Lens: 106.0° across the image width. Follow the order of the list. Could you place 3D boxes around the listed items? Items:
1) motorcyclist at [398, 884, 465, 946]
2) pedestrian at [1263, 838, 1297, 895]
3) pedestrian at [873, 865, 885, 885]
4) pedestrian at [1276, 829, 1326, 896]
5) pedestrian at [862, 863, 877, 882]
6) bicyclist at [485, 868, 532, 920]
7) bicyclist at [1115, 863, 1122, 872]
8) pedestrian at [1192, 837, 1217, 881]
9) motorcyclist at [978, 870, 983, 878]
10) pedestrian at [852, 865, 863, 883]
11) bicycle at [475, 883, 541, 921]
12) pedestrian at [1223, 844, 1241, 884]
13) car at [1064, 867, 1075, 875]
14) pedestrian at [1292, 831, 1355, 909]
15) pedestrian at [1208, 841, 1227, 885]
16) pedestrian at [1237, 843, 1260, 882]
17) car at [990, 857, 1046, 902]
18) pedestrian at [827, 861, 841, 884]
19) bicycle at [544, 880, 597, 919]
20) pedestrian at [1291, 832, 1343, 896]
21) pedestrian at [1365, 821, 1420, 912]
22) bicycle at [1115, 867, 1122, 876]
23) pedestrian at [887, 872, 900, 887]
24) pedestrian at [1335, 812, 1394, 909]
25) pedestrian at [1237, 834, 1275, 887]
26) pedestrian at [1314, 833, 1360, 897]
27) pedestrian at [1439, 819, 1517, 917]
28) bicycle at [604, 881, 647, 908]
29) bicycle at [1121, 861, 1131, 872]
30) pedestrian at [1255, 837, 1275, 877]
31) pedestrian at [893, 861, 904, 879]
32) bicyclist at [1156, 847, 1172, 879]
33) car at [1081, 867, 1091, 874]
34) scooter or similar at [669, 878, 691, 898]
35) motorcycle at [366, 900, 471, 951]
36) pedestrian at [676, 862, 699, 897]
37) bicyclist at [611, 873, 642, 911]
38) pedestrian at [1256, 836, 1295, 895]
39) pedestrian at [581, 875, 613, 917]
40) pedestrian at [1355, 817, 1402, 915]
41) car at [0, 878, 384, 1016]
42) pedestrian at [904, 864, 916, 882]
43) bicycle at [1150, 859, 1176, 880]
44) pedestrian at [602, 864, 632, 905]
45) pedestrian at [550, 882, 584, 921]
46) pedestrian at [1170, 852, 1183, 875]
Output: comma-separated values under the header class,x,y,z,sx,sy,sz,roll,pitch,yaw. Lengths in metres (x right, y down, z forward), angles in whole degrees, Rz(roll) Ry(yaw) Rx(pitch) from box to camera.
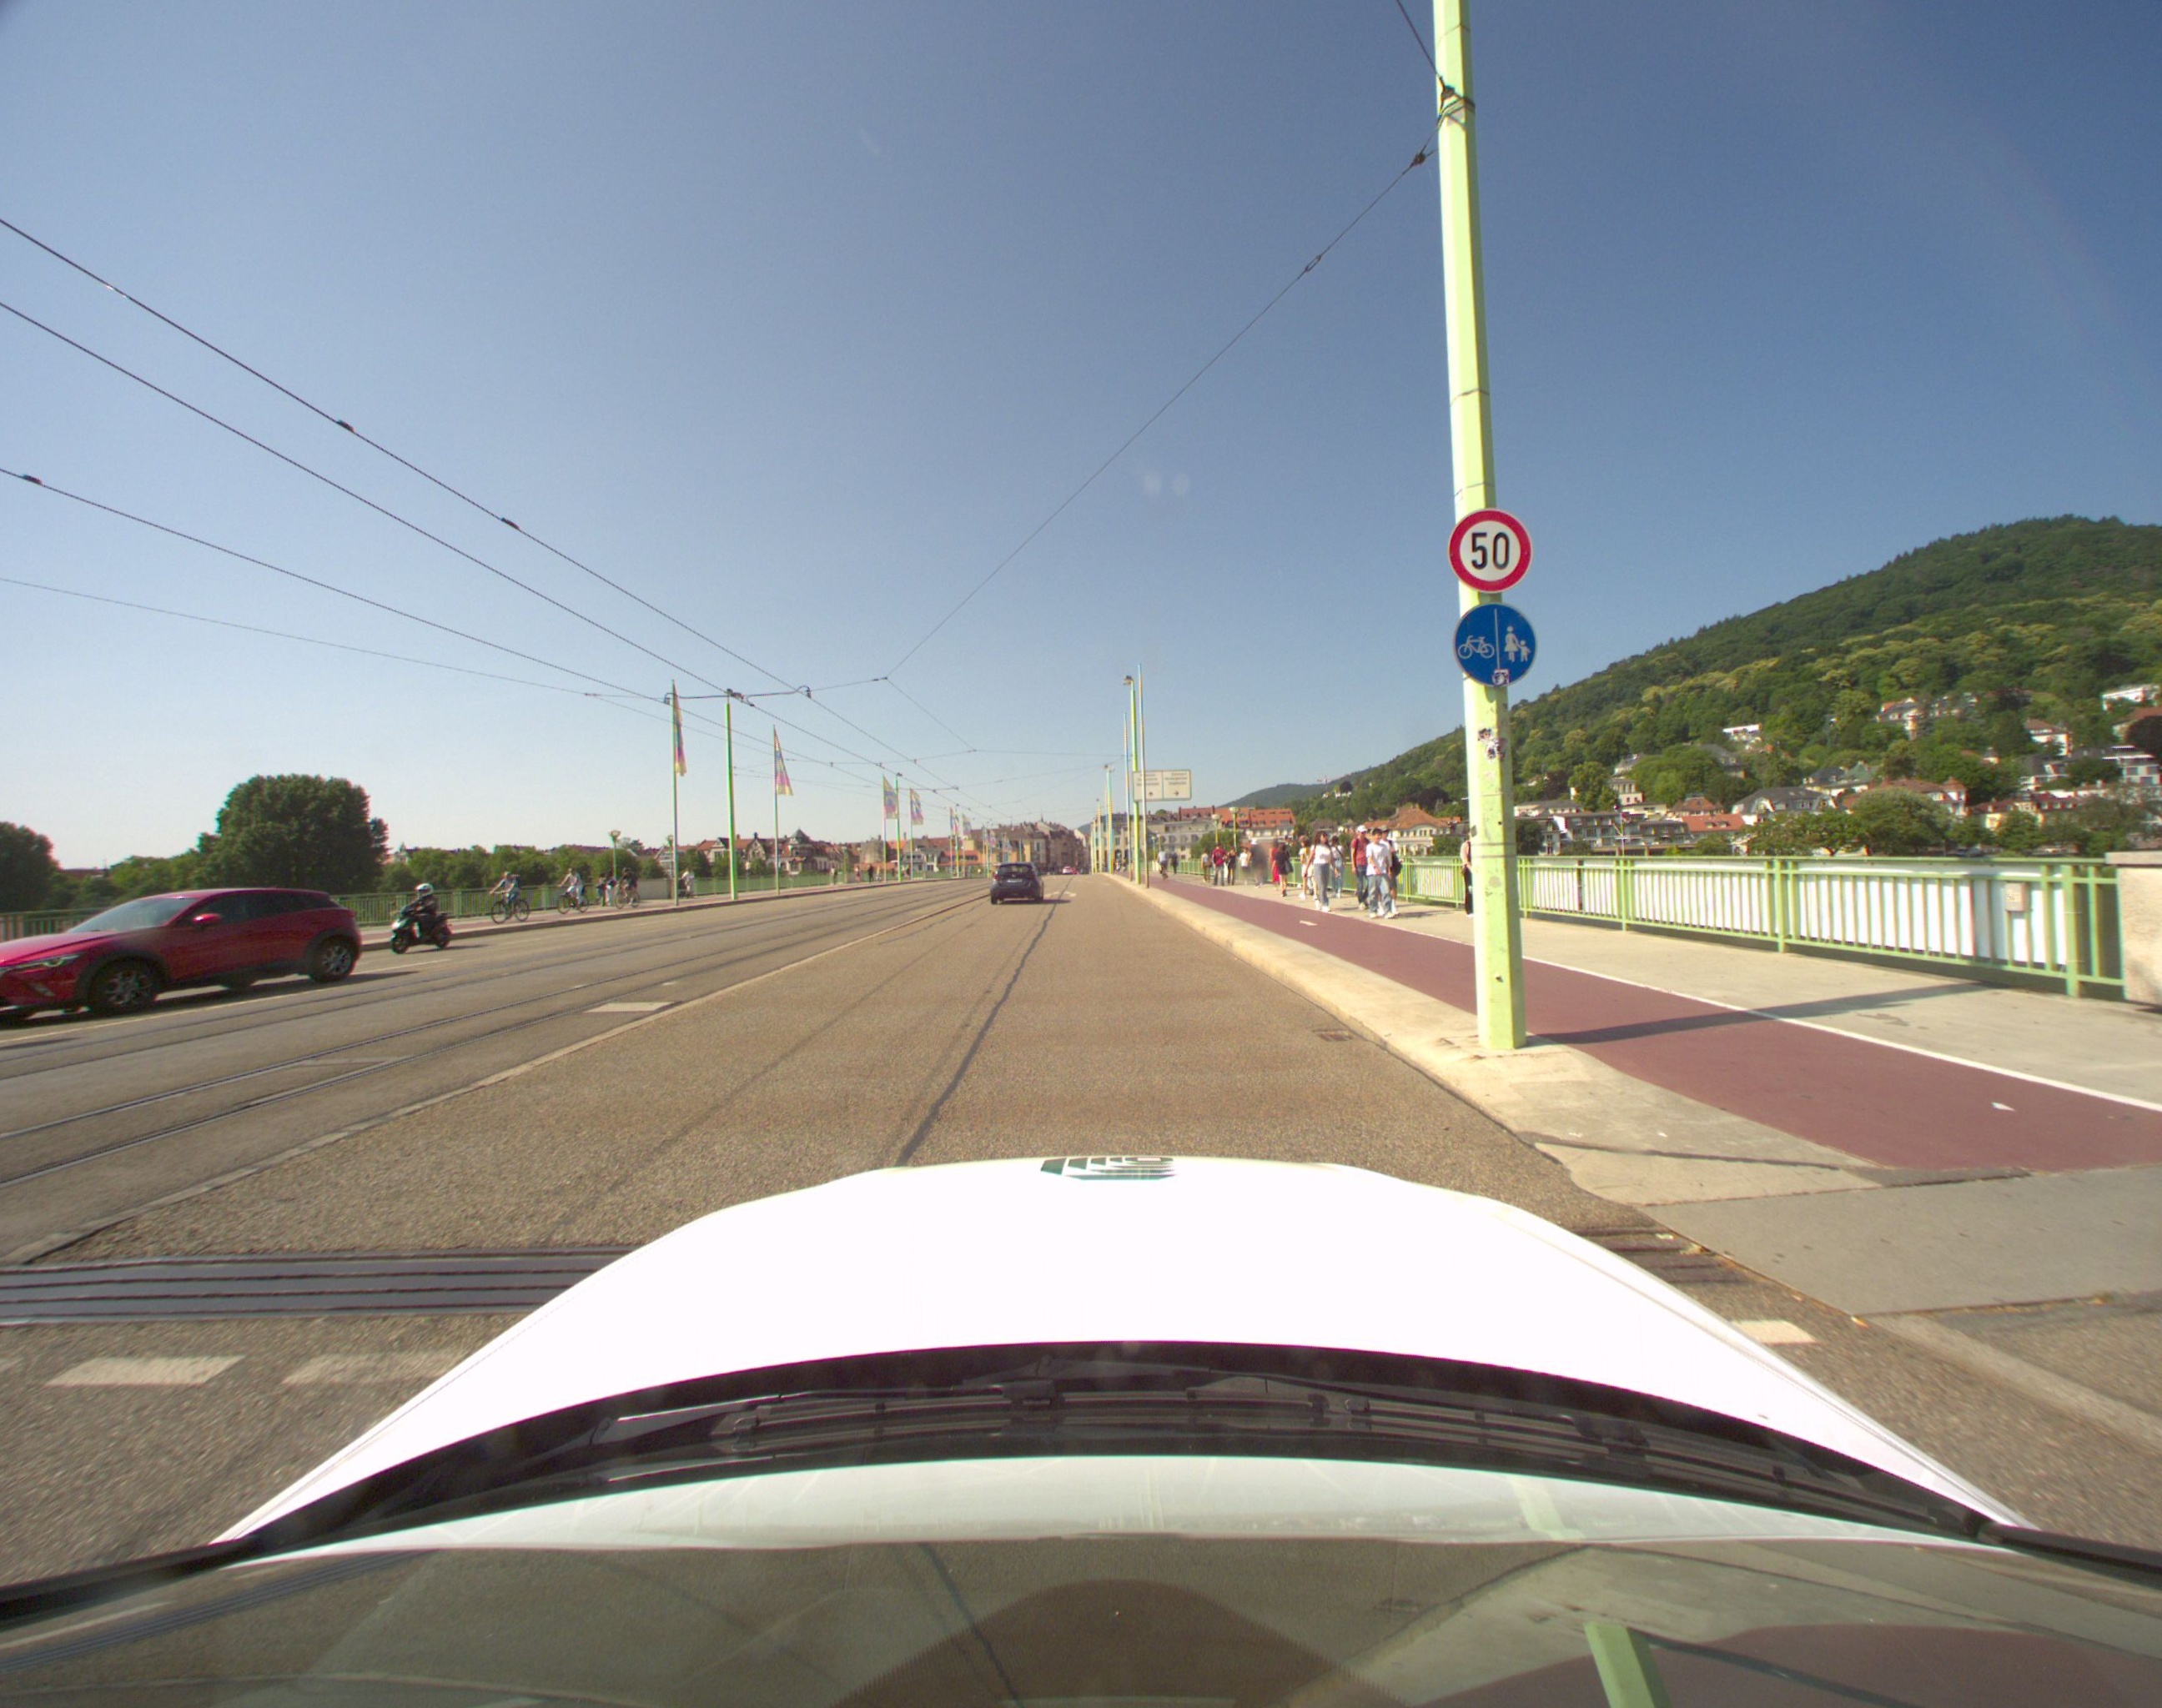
class,x,y,z,sx,sy,sz,roll,pitch,yaw
motorcyclist,-15.224,1.417,19.110,0.843,1.402,0.897,-1,-1,-3
pedestrian,5.887,0.367,24.127,0.653,1.650,0.866,-2,-2,-6
pedestrian,-20.763,2.135,83.779,0.967,2.014,1.099,-2,-1,-6
pedestrian,5.947,0.237,22.049,0.983,1.750,0.928,-2,-2,-6
pedestrian,-20.266,1.781,78.176,1.095,1.758,1.294,-1,0,-3
bicyclist,-18.668,1.290,26.554,0.874,1.609,0.772,-3,0,2
bicyclist,4.381,1.601,95.886,0.733,1.031,1.174,-2,-1,-2
pedestrian,5.908,0.246,38.921,0.872,2.014,1.057,-2,-2,-6
motorcyclist,-19.287,3.794,156.982,0.798,1.549,1.068,-2,-2,-1
pedestrian,-21.391,1.925,77.970,0.752,1.722,1.174,-1,-2,-3
bicycle,-18.657,1.545,26.569,0.756,1.114,1.921,0,1,1
pedestrian,6.283,0.429,33.879,0.522,1.649,0.698,-2,-2,-6
car,-2.150,3.192,152.780,1.800,1.469,3.995,-3,-2,-3
pedestrian,5.244,0.343,17.657,0.983,1.615,0.919,-2,-2,-6
pedestrian,5.664,0.384,33.899,0.584,1.793,0.631,-2,-2,-5
pedestrian,6.919,0.368,33.662,0.649,1.562,0.690,-3,-1,-7
car,-2.244,0.906,29.897,1.905,1.540,3.996,0,-1,-3
pedestrian,-21.772,1.596,71.779,0.896,2.014,1.041,-2,-1,-3
bicycle,-19.754,1.724,31.579,0.703,1.400,2.161,2,-1,-3
pedestrian,6.896,0.291,23.844,0.983,1.769,1.251,-3,-1,-6
pedestrian,6.067,0.246,15.877,0.695,1.716,0.730,-2,-2,-6
bicycle,4.448,2.048,95.864,0.617,1.037,2.049,-2,-1,-2
pedestrian,-21.940,3.004,95.228,1.093,1.729,1.295,-4,-2,2
pedestrian,6.106,0.137,17.566,0.802,2.014,0.952,-2,-2,-6
pedestrian,6.534,0.258,30.455,0.983,1.895,1.251,-2,-2,-6
pedestrian,6.903,0.306,21.994,0.833,1.677,0.883,-2,-2,-6
pedestrian,6.950,0.244,14.309,0.798,1.635,0.947,-2,-1,-6
bicycle,-19.481,1.719,34.878,0.756,1.114,1.919,-2,-1,0
bicycle,4.870,1.376,88.321,0.694,1.194,2.075,-2,-2,-4
pedestrian,7.552,0.128,33.359,0.647,1.631,0.692,-1,-1,0
pedestrian,-21.475,1.880,95.889,1.095,2.014,1.128,-2,-1,-3
bicyclist,4.670,0.491,45.850,0.672,1.744,1.148,-2,-1,-5
car,1.009,3.345,164.514,1.797,1.469,4.001,-3,-2,2
scooter or similar,-21.382,1.799,43.430,0.737,1.030,0.832,1,-1,-3
motorcycle,-15.208,1.613,18.776,0.842,1.025,1.950,-1,-1,-2
pedestrian,-21.416,1.373,44.354,0.737,1.853,0.974,1,-1,-3
bicyclist,-19.502,1.628,34.937,0.874,1.609,0.771,-2,-2,-1
pedestrian,6.589,0.388,27.620,1.013,1.954,0.938,-2,-2,-3
pedestrian,-21.610,1.863,36.386,0.737,1.849,1.120,1,-1,-3
pedestrian,5.611,0.226,15.400,0.548,1.799,0.644,-2,-2,-6
car,-12.597,1.150,11.359,1.985,1.515,4.192,-3,-1,3
pedestrian,-19.983,2.241,94.995,1.095,2.014,1.294,-2,-1,-3
bicycle,4.586,0.863,45.972,0.791,1.096,3.738,-2,-1,-4
pedestrian,-20.810,1.349,36.531,0.737,1.784,0.956,1,-1,-3
pedestrian,-19.770,1.824,31.338,0.741,1.456,0.899,-2,-2,-1
pedestrian,7.114,0.703,60.714,0.654,1.744,0.976,-2,0,-6
